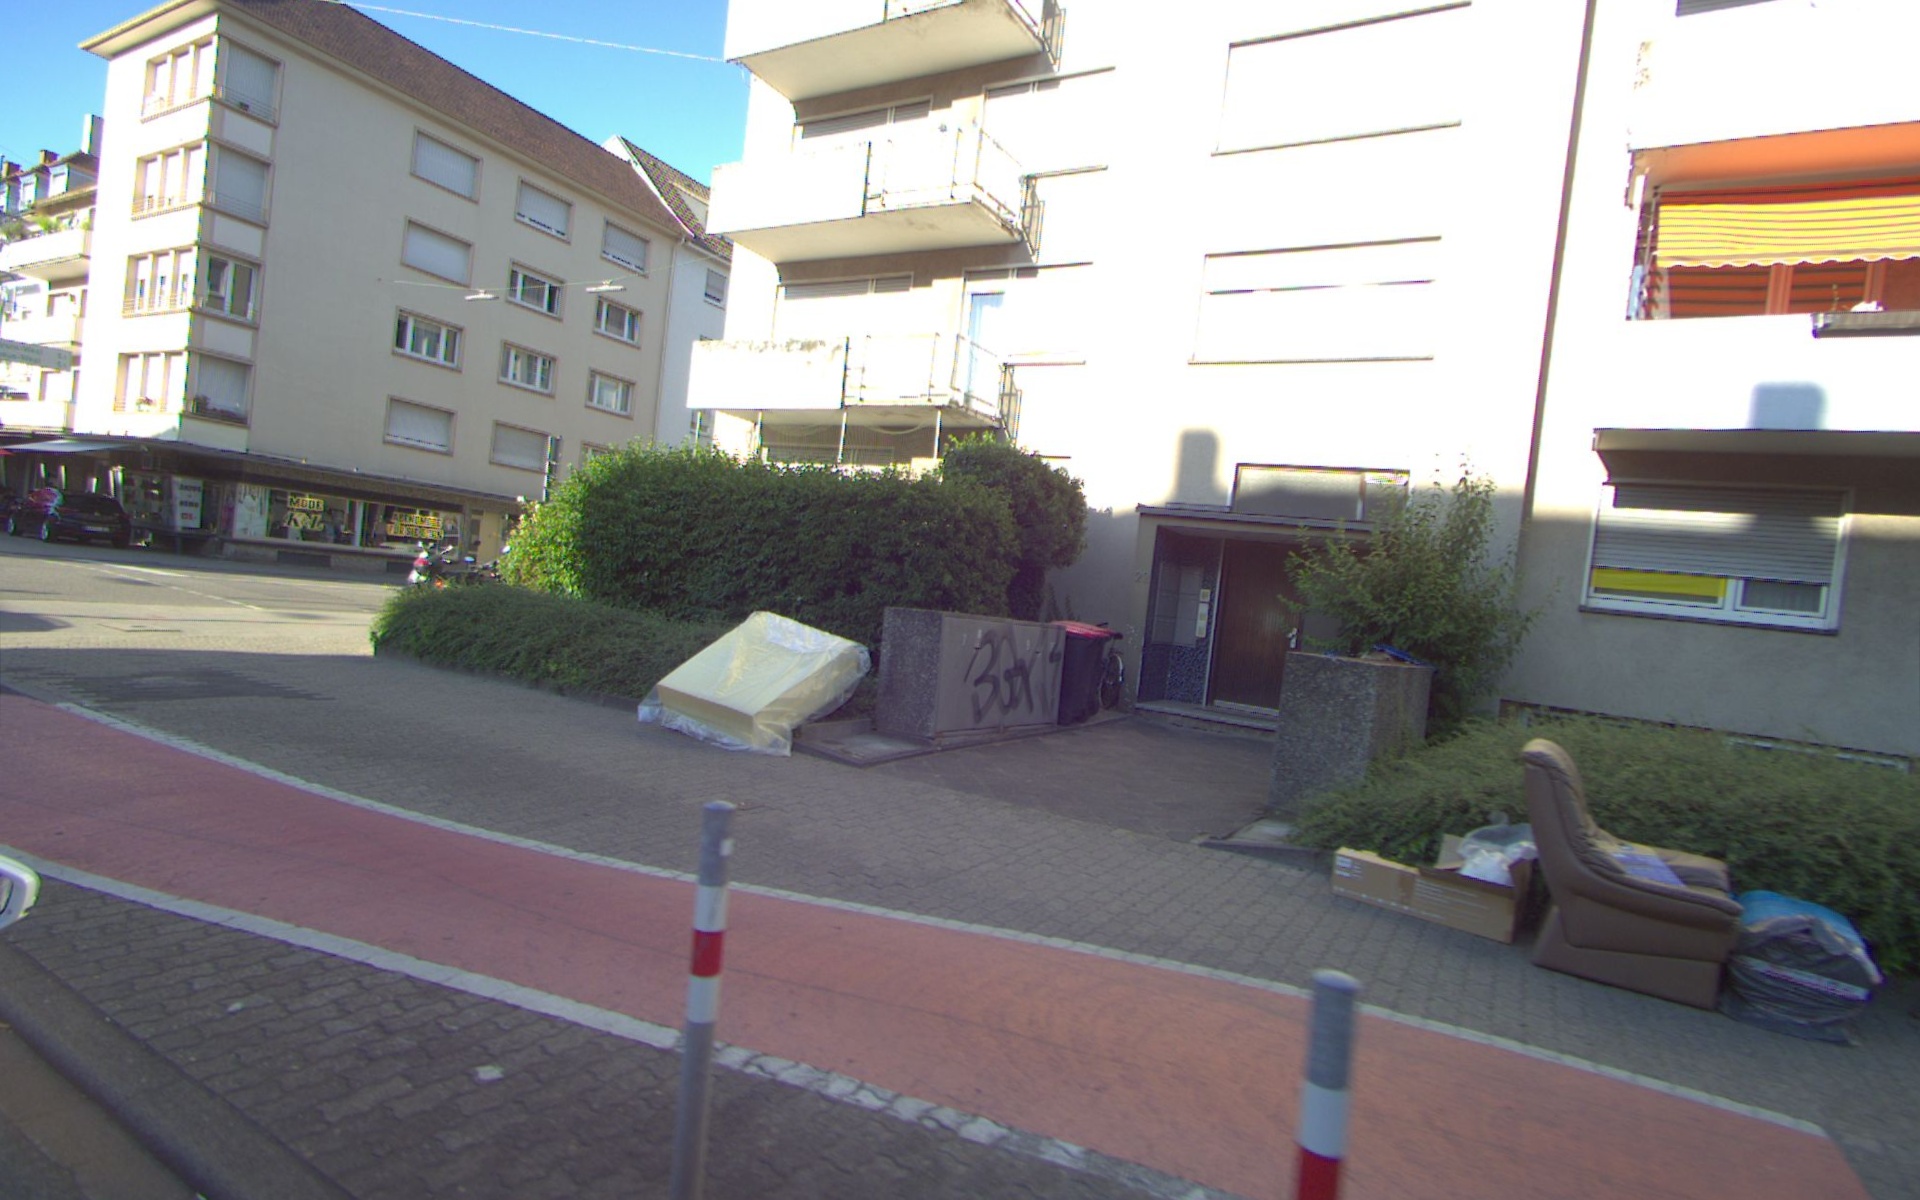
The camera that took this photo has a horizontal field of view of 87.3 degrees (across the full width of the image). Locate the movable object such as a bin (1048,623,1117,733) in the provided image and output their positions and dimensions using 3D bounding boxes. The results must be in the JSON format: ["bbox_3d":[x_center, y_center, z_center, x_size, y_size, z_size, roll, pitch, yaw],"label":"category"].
[{"bbox_3d":[1.362,0.862,11.142,0.410,1.141,0.632,7,1,31],"label":"movable object such as a bin"}]

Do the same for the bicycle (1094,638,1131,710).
[{"bbox_3d":[2.033,0.957,13.349,0.313,0.871,1.322,7,0,12],"label":"bicycle"}]

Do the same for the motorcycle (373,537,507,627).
[{"bbox_3d":[-9.218,-0.292,17.905,0.683,1.378,1.914,7,1,35],"label":"motorcycle"}]

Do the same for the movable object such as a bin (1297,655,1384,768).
[{"bbox_3d":[4.129,1.186,10.903,0.644,1.100,0.742,7,1,32],"label":"movable object such as a bin"}]

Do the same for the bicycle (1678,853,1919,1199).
[{"bbox_3d":[1.941,1.079,1.016,1.924,1.163,0.502,6,3,25],"label":"bicycle"}]

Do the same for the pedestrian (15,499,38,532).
[{"bbox_3d":[-30.773,-2.795,33.152,0.513,1.008,0.372,7,1,31],"label":"pedestrian"}]

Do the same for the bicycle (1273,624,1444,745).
[{"bbox_3d":[4.784,0.993,12.136,1.766,1.198,0.356,7,1,32],"label":"bicycle"}]

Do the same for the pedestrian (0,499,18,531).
[{"bbox_3d":[-31.954,-2.864,33.707,0.513,1.008,0.372,7,1,31],"label":"pedestrian"}]

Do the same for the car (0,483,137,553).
[{"bbox_3d":[-24.745,-2.281,27.852,3.934,1.504,1.777,7,0,32],"label":"car"}]

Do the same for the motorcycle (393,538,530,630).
[{"bbox_3d":[-8.546,-0.249,17.320,0.683,1.378,1.914,7,1,35],"label":"motorcycle"}]
